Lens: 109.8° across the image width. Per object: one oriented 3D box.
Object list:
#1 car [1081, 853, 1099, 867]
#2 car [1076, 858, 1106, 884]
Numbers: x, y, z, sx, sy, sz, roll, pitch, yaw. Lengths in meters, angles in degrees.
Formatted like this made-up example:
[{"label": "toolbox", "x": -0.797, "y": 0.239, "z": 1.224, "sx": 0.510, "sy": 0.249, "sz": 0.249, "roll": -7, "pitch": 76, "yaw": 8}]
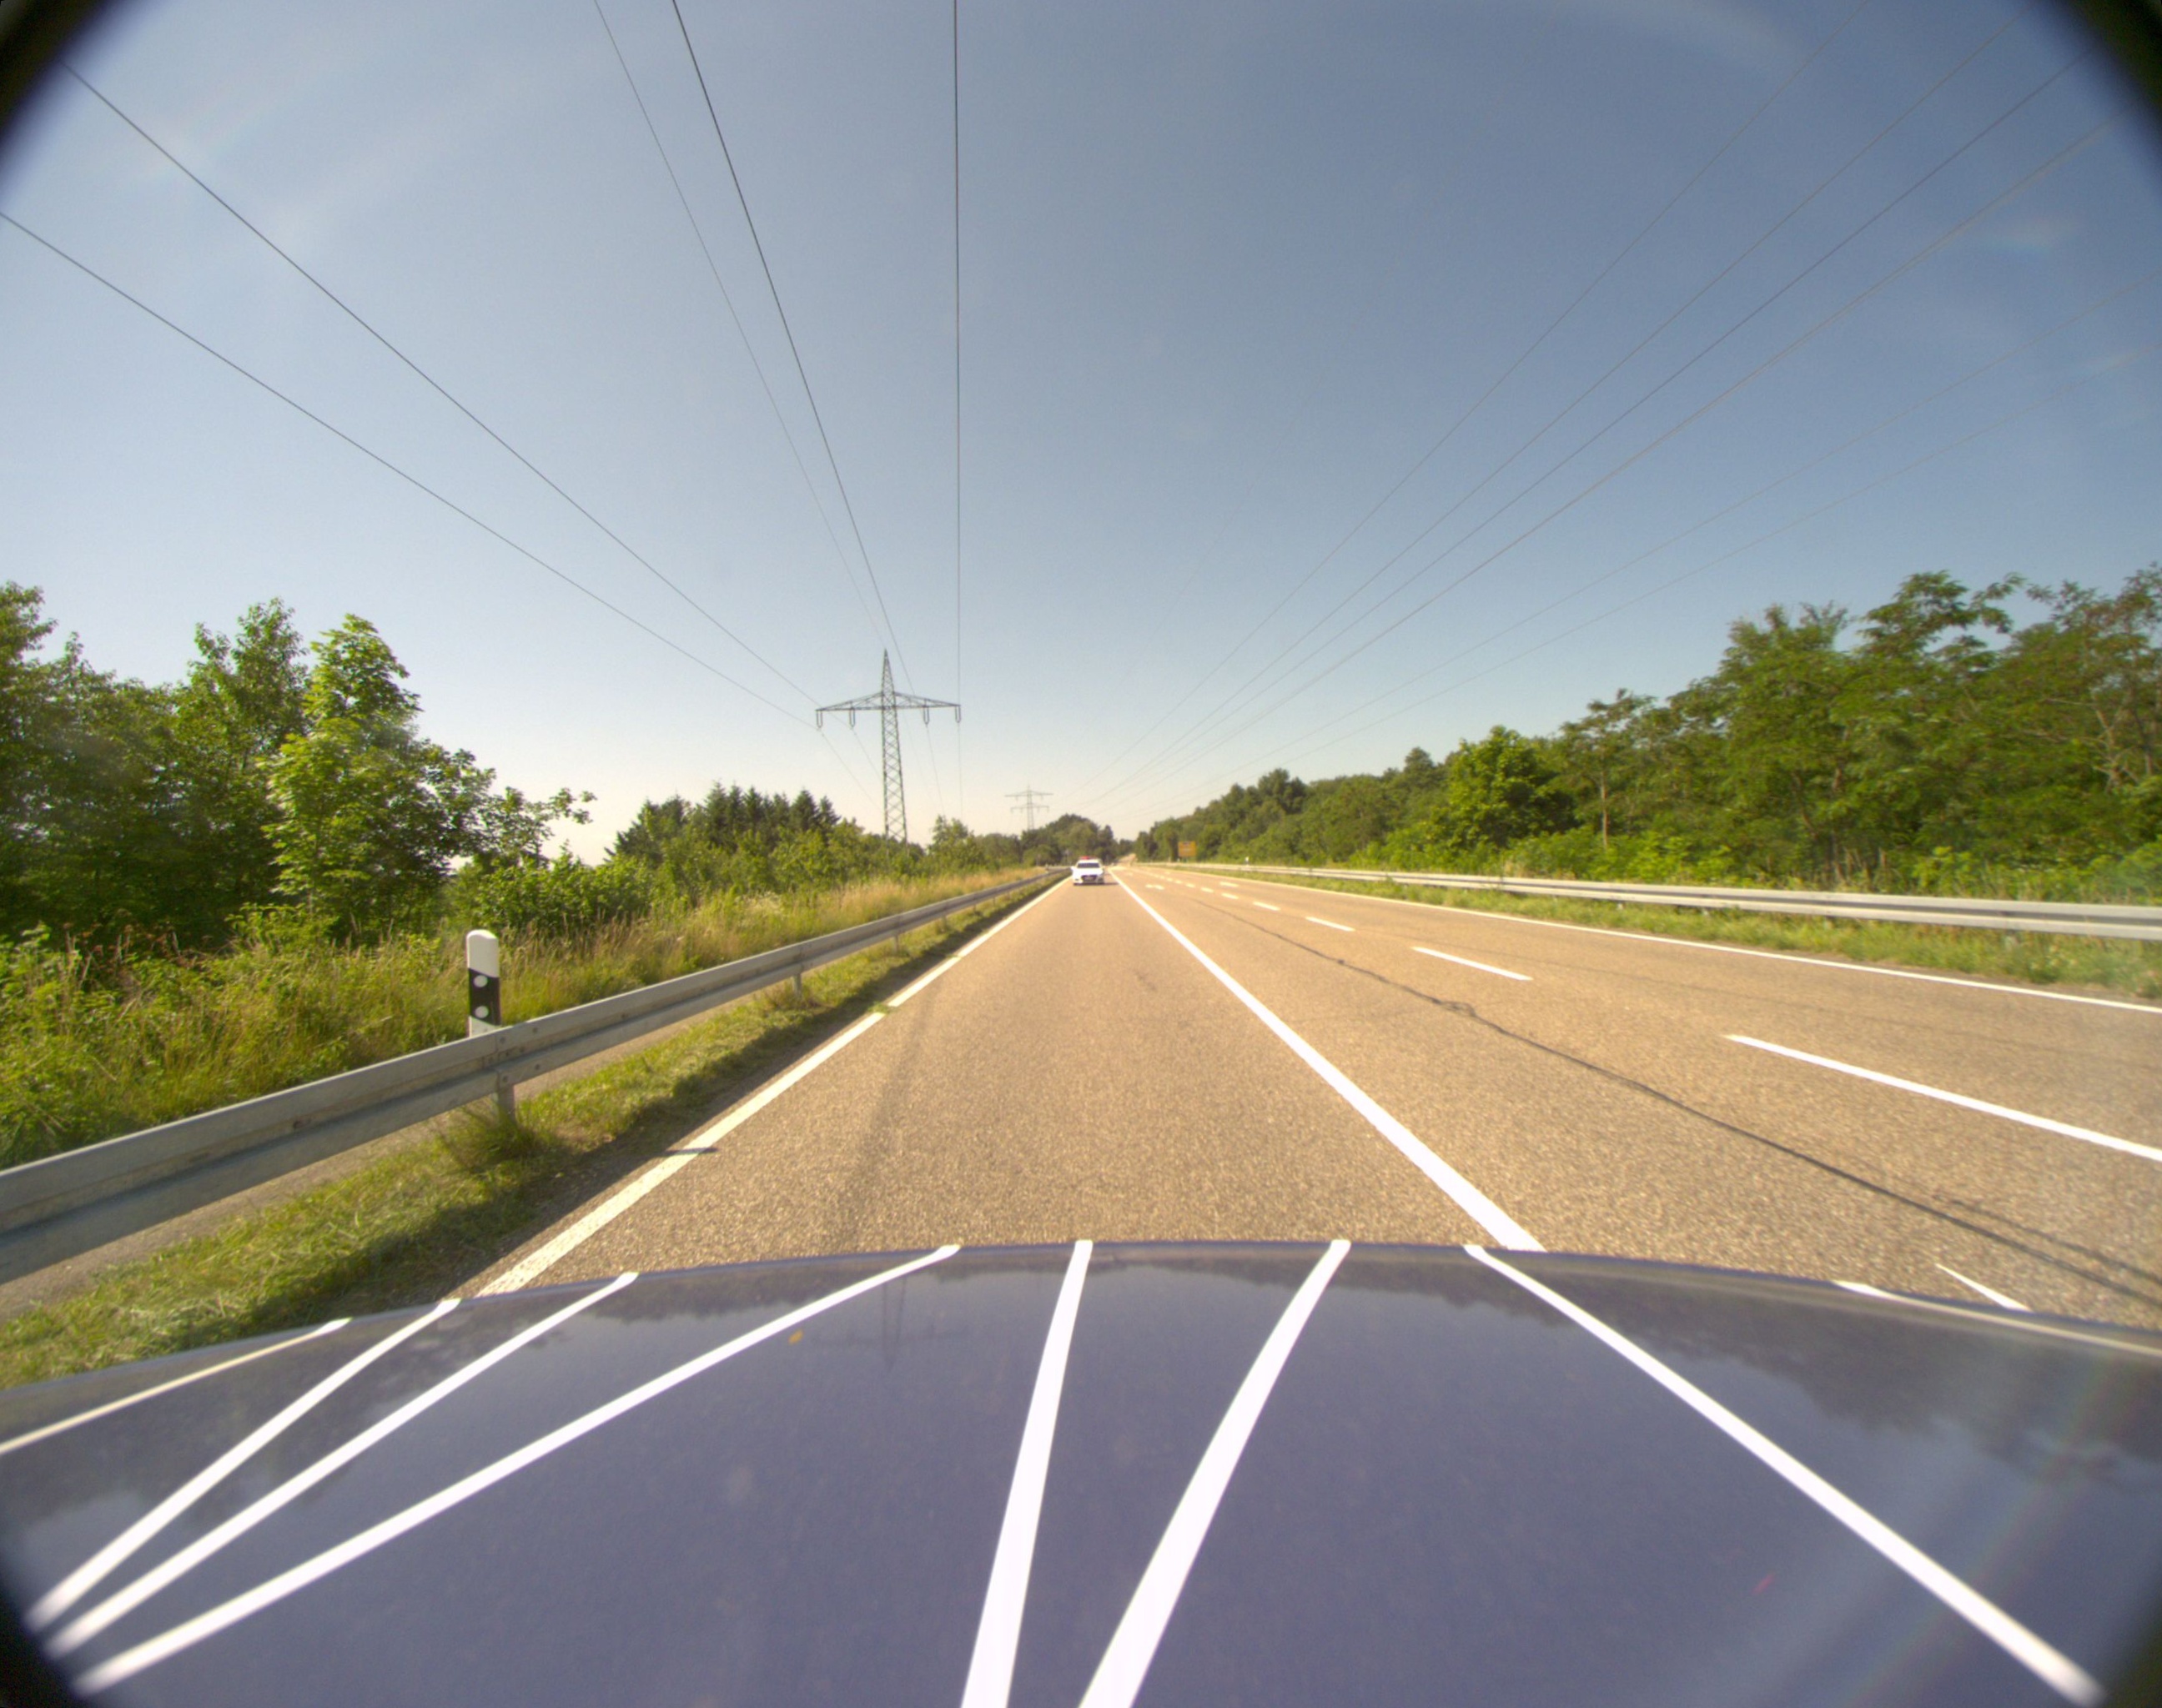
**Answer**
[{"label": "car", "x": 1.207, "y": 0.805, "z": 105.578, "sx": 1.796, "sy": 1.892, "sz": 4.835, "roll": -2, "pitch": 0, "yaw": -8}, {"label": "car", "x": 0.604, "y": 0.996, "z": 46.746, "sx": 1.683, "sy": 1.471, "sz": 4.473, "roll": -1, "pitch": 0, "yaw": 0}]
